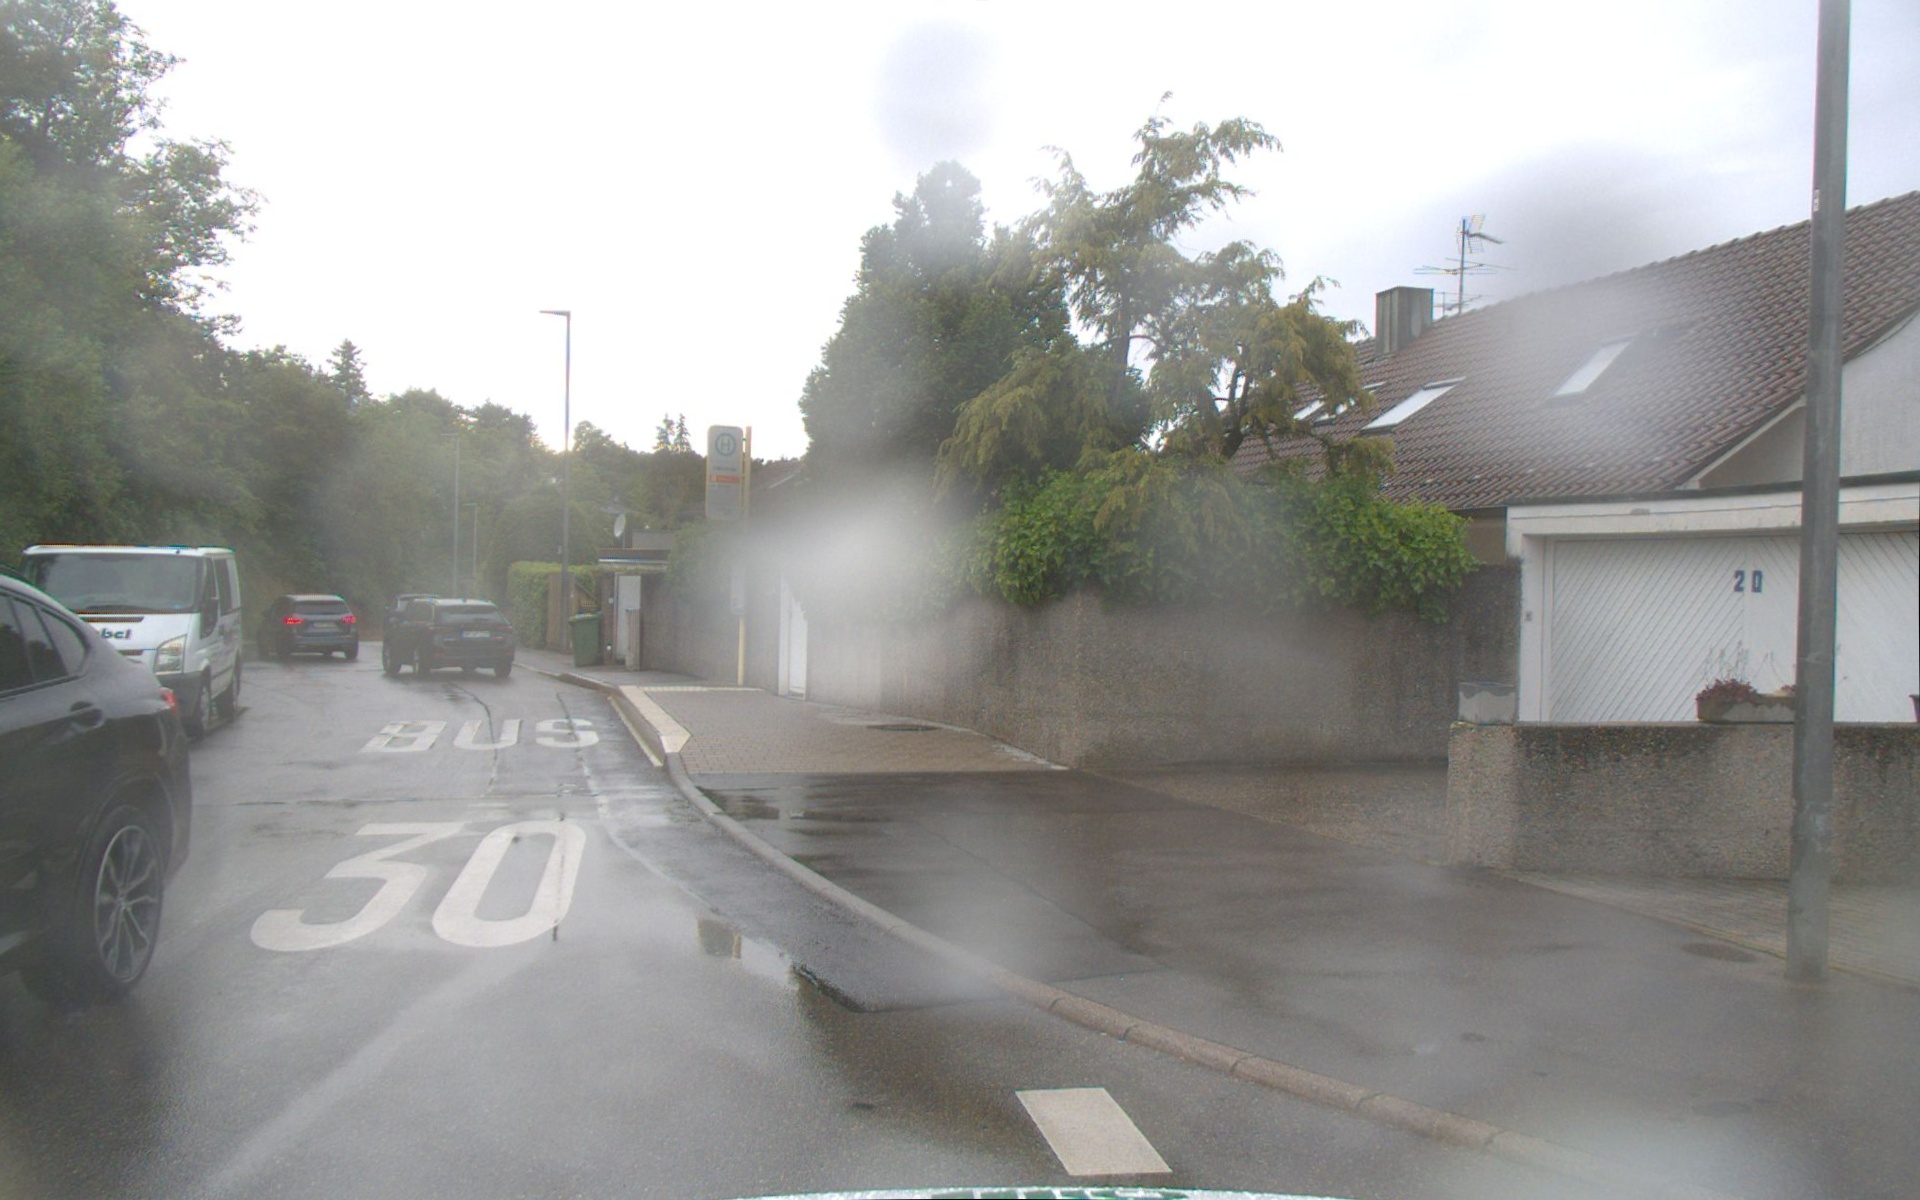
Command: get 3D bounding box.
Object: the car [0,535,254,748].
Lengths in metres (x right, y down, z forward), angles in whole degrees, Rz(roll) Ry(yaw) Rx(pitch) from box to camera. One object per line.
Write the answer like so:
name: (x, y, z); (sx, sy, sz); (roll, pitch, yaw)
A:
car: (-9.175, 0.377, 18.359); (2.079, 2.009, 5.144); (0, 0, -19)

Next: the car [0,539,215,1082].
car: (-3.792, 0.633, 4.479); (1.892, 1.633, 4.339); (0, 0, -5)

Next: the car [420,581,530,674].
car: (-9.368, 0.594, 31.757); (1.840, 1.539, 4.070); (2, -4, -18)

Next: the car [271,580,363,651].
car: (-15.858, 0.367, 40.685); (1.967, 1.633, 4.378); (1, 0, -23)

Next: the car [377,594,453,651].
car: (-16.552, 0.646, 50.109); (1.849, 1.620, 4.448); (0, 0, -22)

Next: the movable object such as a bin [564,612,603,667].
movable object such as a bin: (-7.926, 0.823, 34.814); (0.728, 1.107, 0.596); (-2, 1, -20)

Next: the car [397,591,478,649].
car: (-14.165, 0.515, 44.701); (1.731, 1.487, 4.271); (1, 0, -22)
